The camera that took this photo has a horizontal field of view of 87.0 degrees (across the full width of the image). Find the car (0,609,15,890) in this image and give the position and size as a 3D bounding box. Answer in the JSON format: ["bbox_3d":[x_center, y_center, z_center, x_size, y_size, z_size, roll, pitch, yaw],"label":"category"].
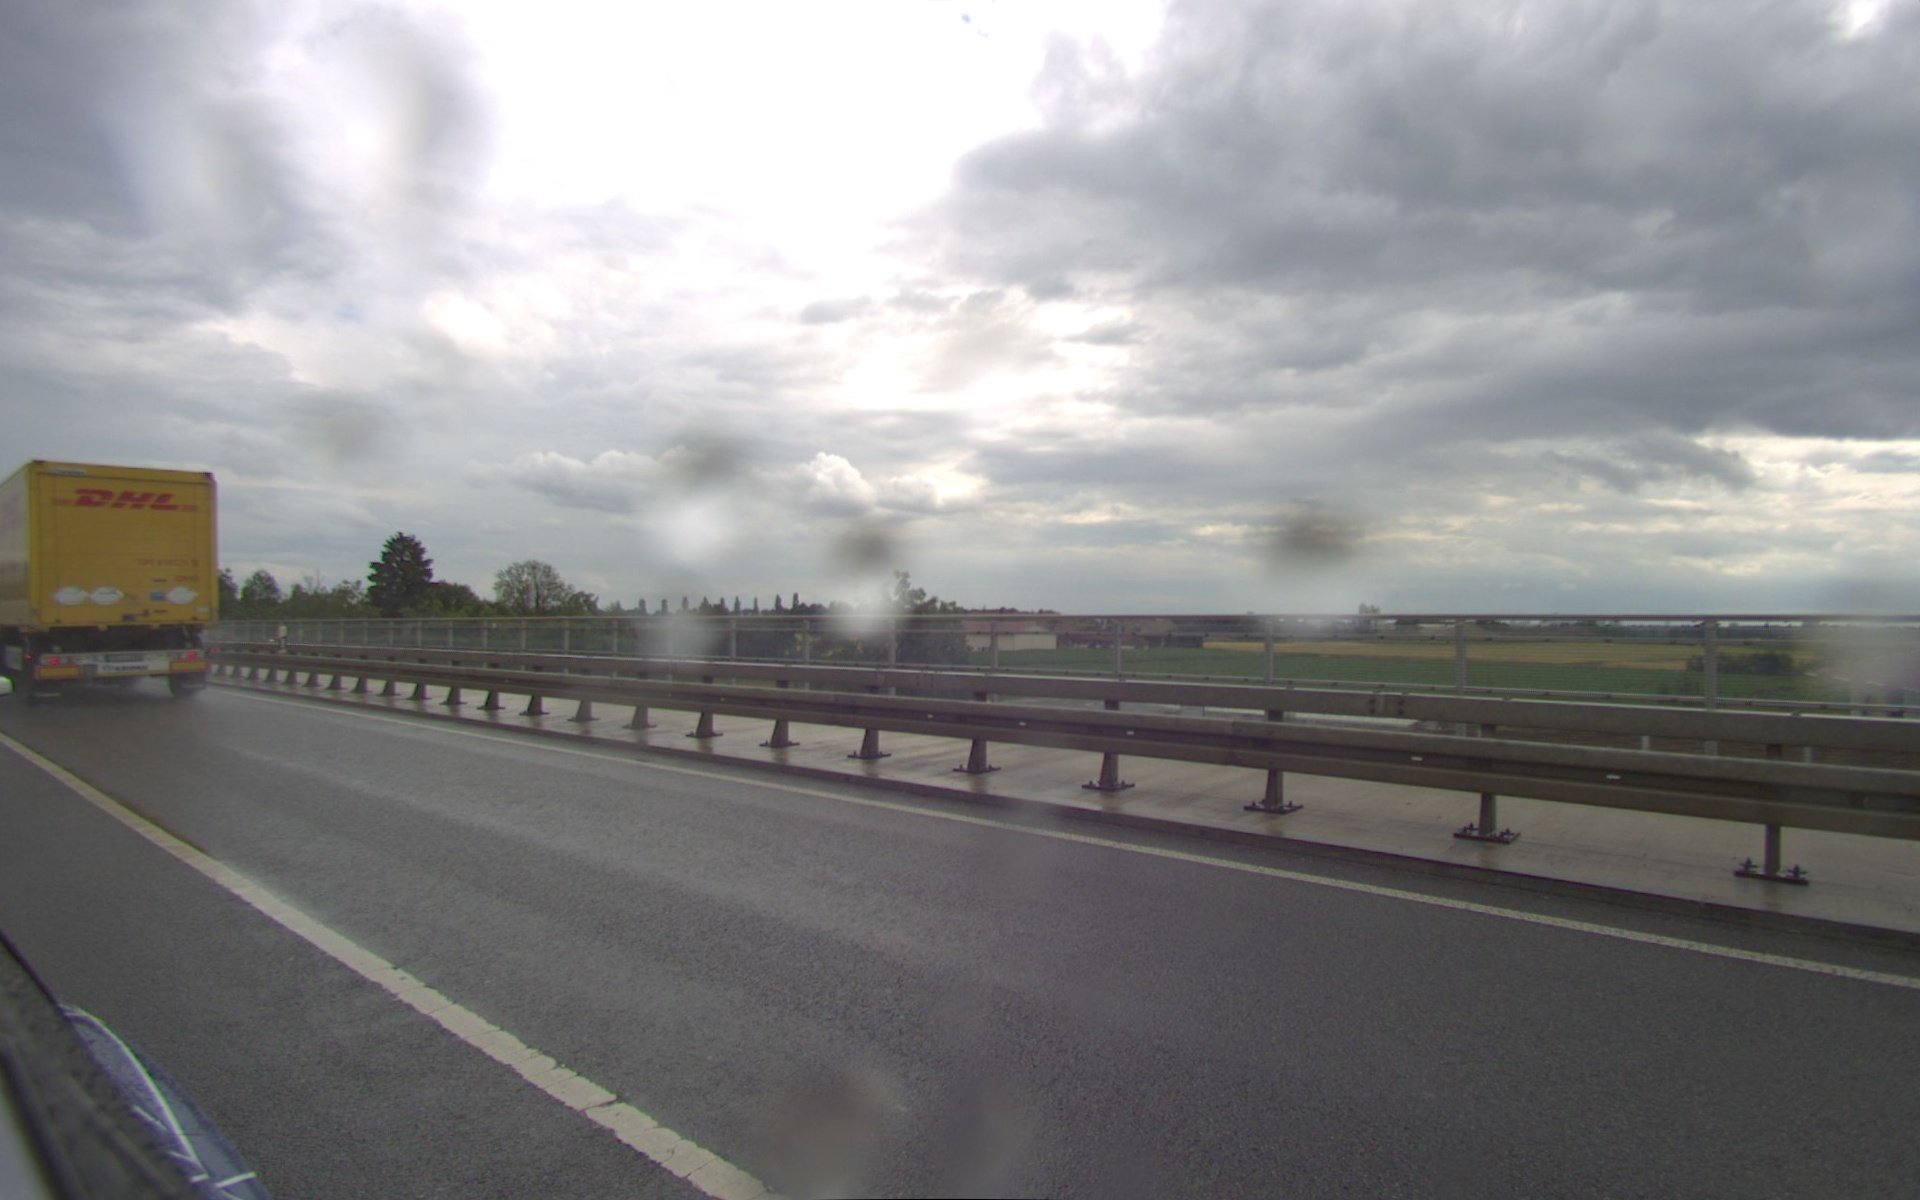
[{"bbox_3d":[-7.183,0.827,6.167,4.127,1.496,1.653,-1,0,41],"label":"car"}]

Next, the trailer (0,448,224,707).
[{"bbox_3d":[-17.197,-0.300,19.911,8.482,4.106,2.654,-1,-1,42],"label":"trailer"}]

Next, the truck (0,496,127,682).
[{"bbox_3d":[-24.155,-0.165,26.052,10.050,4.047,2.654,-1,-1,42],"label":"truck"}]
